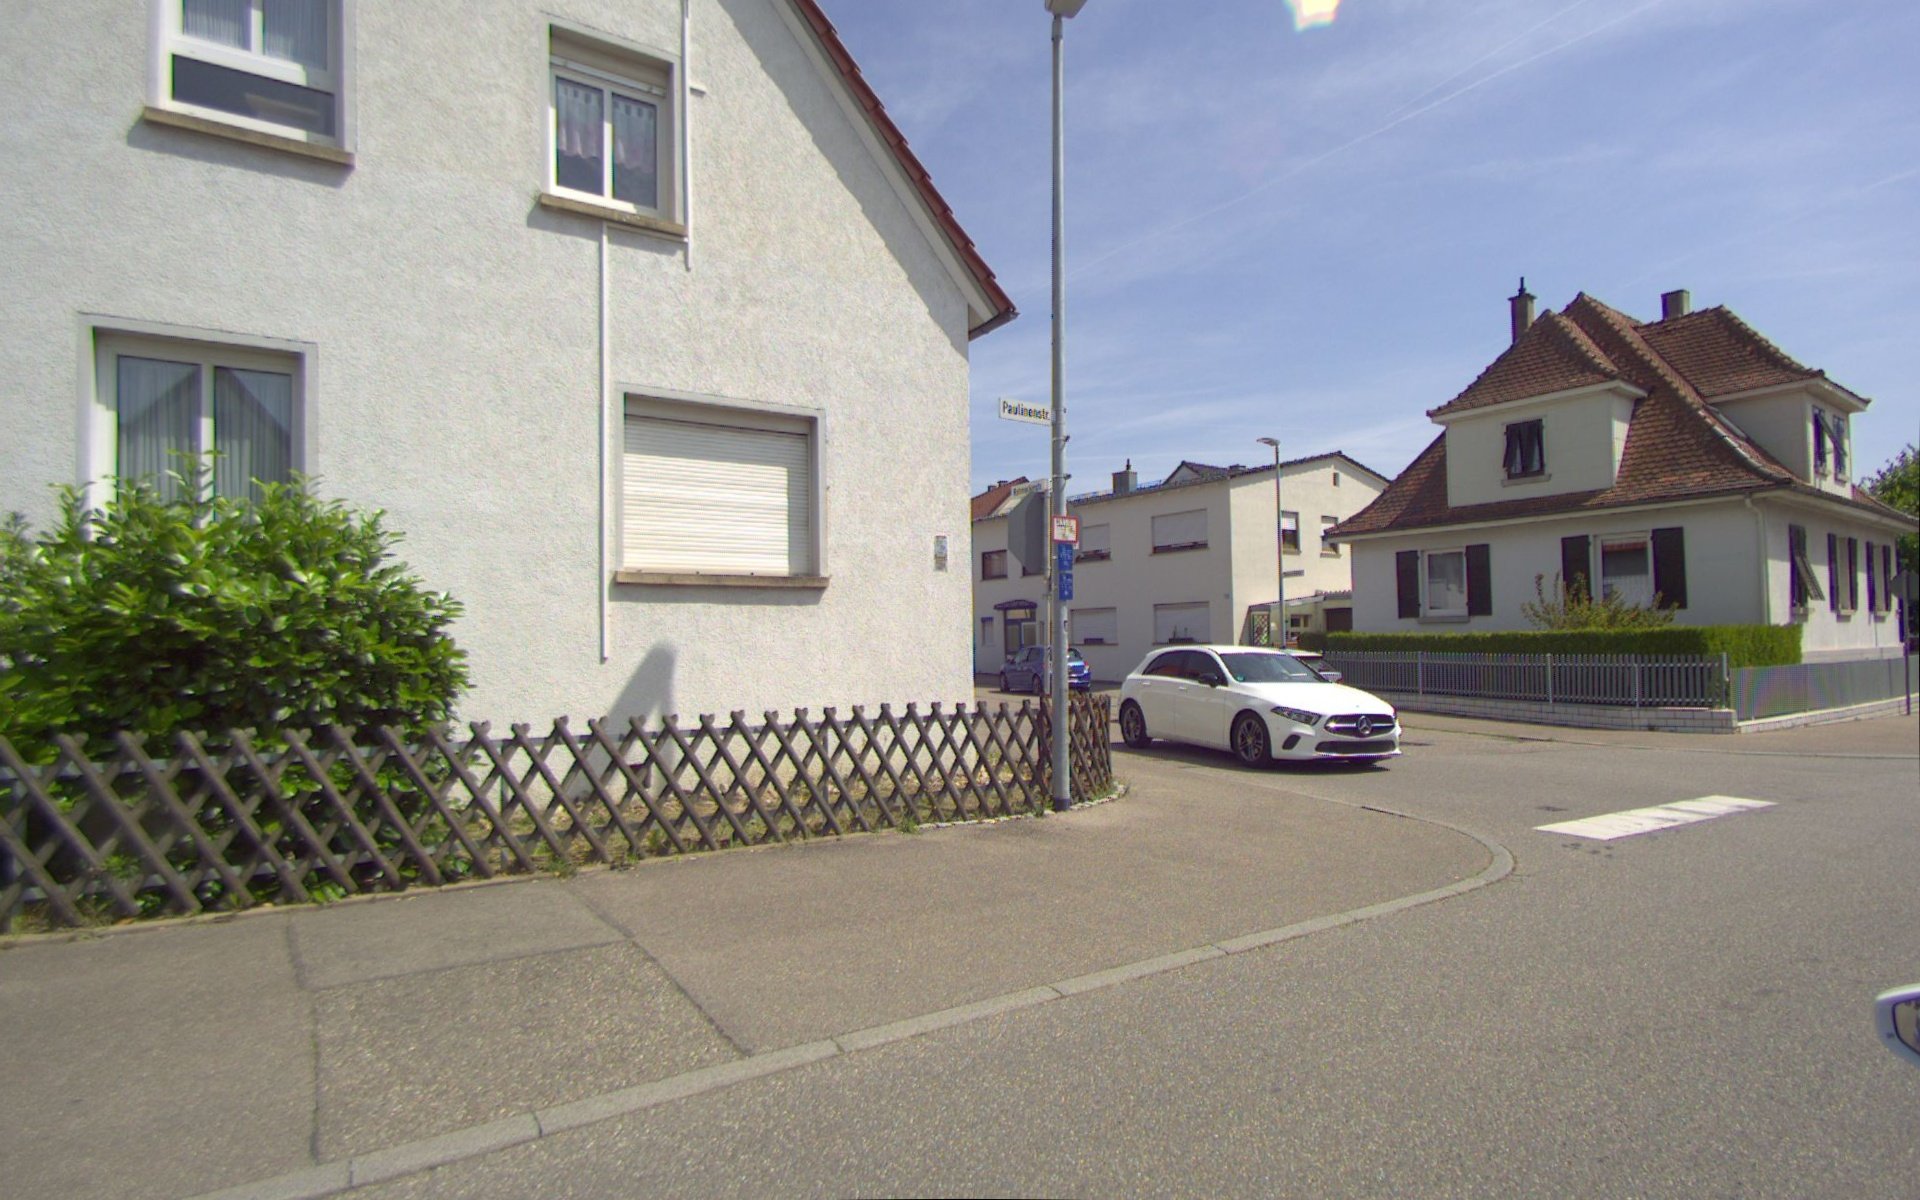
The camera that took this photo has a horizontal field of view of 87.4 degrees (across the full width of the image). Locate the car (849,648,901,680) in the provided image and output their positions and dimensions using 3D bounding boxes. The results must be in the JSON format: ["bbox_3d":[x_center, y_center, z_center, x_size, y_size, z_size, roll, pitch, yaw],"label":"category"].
[{"bbox_3d":[-4.120,3.048,48.237,1.498,1.484,3.507,1,-3,-23],"label":"car"}]

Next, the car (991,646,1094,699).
[{"bbox_3d":[2.482,2.202,31.199,1.749,1.511,3.758,1,-3,-21],"label":"car"}]

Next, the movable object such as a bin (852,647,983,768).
[{"bbox_3d":[-0.527,1.240,11.974,1.150,1.331,1.259,2,-2,-25],"label":"movable object such as a bin"}]

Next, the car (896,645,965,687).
[{"bbox_3d":[-1.291,2.736,42.311,1.749,1.672,3.758,1,-3,-21],"label":"car"}]

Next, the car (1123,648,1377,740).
[{"bbox_3d":[5.111,1.612,18.370,1.738,1.456,4.552,1,-3,-30],"label":"car"}]

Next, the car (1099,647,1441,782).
[{"bbox_3d":[3.704,1.314,12.990,1.900,1.416,4.474,1,-3,-21],"label":"car"}]
